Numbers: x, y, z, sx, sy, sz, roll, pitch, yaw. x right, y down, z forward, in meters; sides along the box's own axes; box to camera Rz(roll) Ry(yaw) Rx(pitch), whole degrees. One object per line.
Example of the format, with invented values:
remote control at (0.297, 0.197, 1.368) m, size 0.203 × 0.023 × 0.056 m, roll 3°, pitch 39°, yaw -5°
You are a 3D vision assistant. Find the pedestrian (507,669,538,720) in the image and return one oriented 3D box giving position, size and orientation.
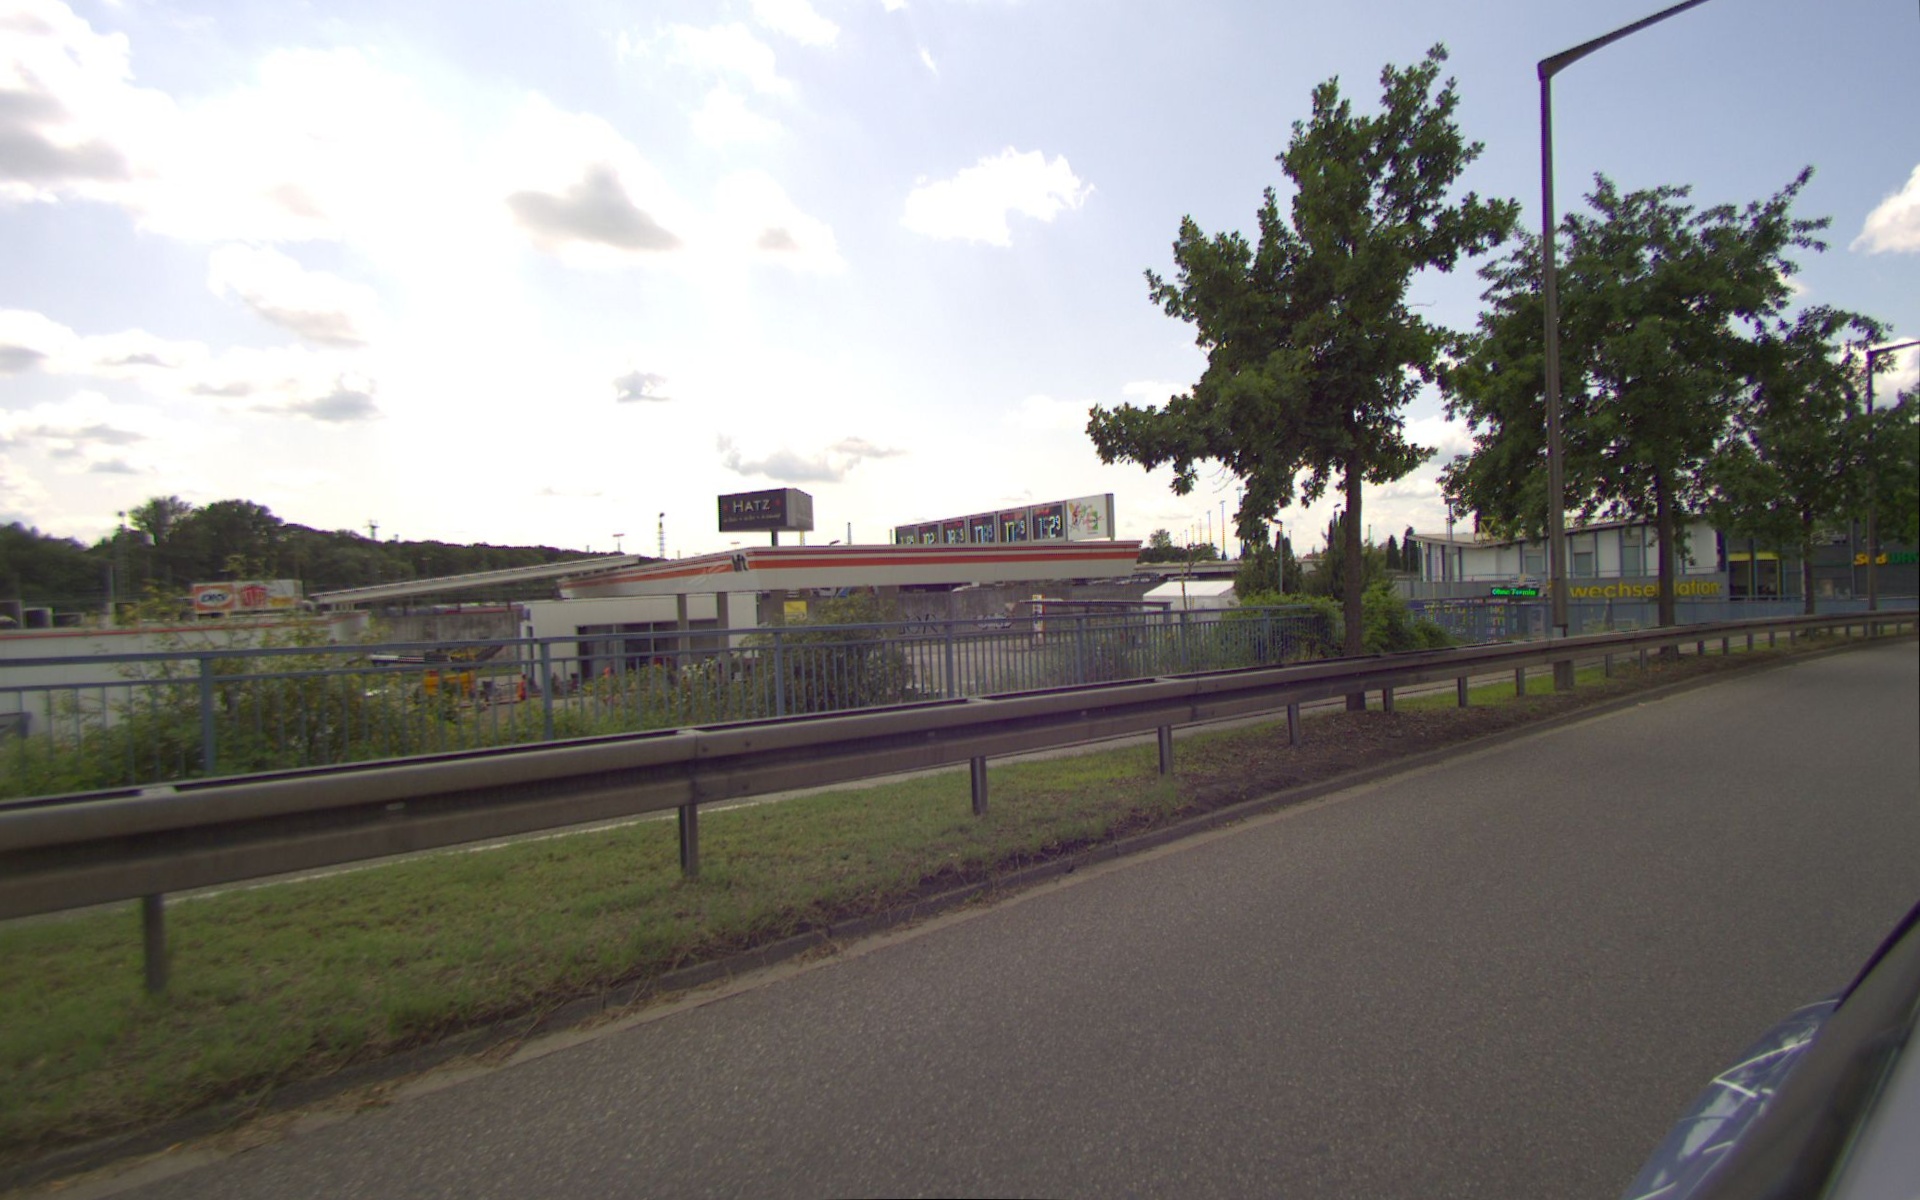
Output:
pedestrian at (-17.317, 3.728, 40.061) m, size 0.836 × 1.881 × 0.821 m, roll -2°, pitch 1°, yaw -1°

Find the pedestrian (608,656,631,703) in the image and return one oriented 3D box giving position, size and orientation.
pedestrian at (-14.571, 3.389, 43.306) m, size 0.738 × 1.881 × 0.822 m, roll -4°, pitch 1°, yaw -28°
